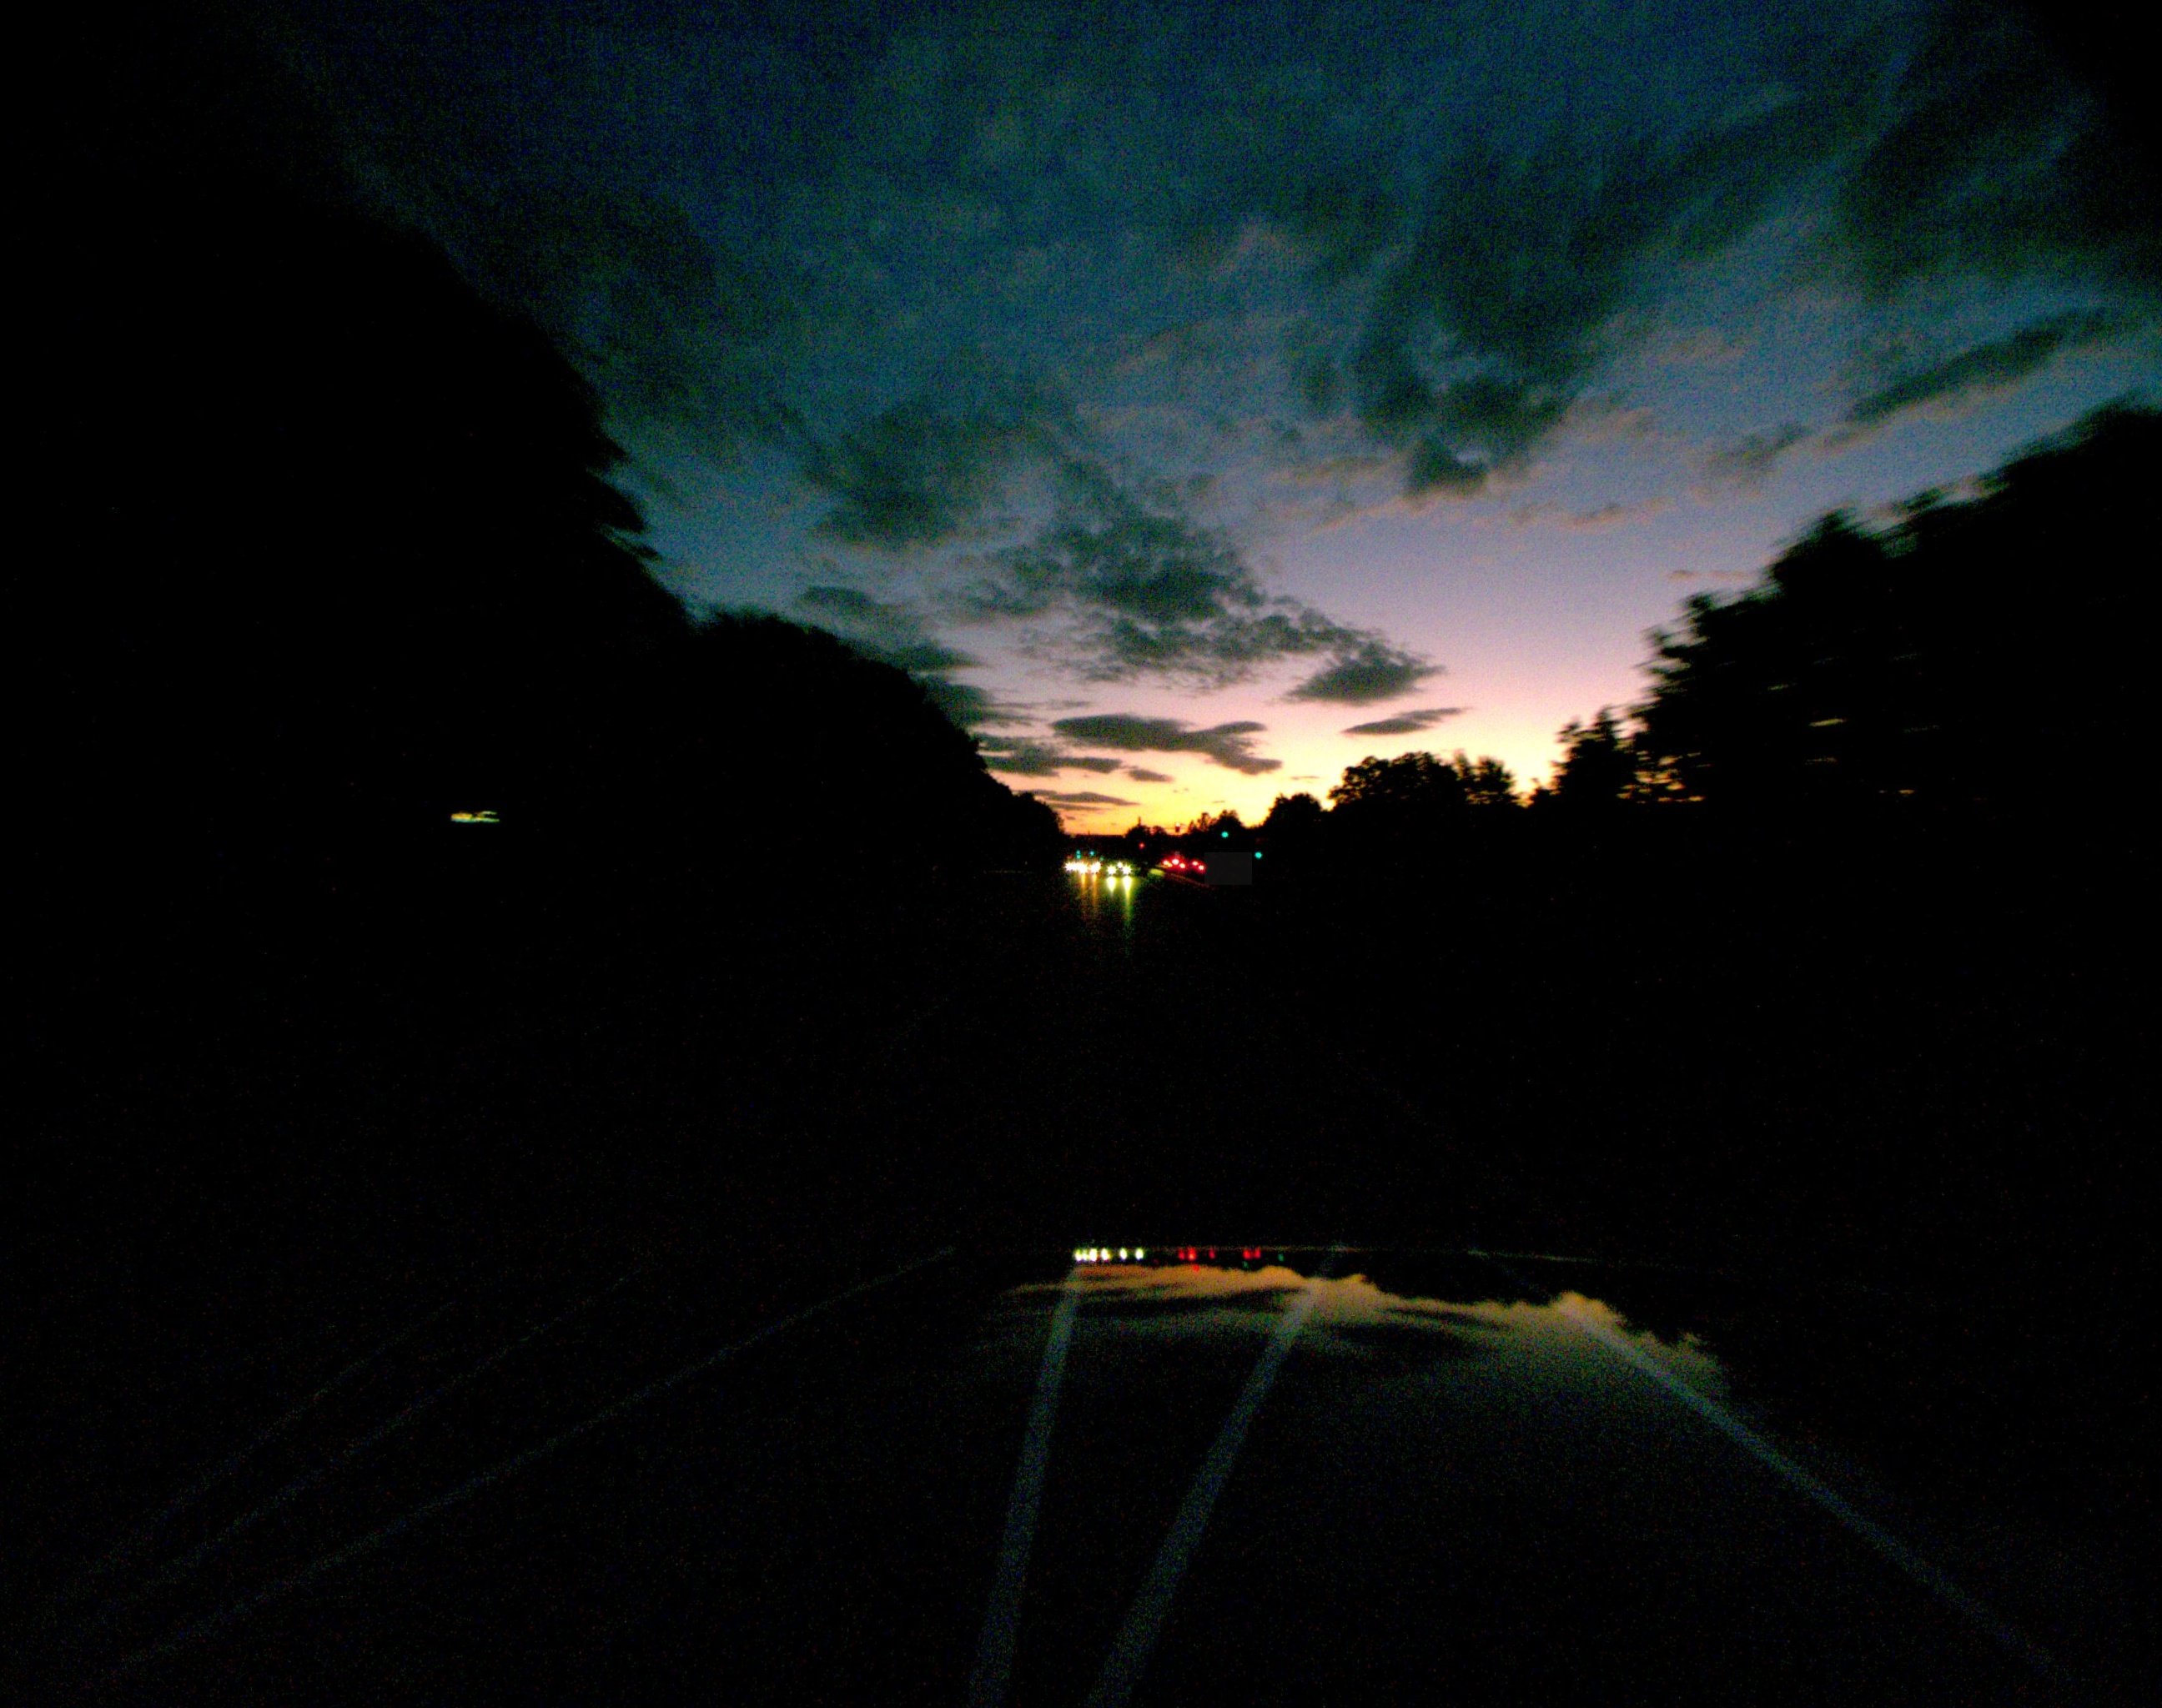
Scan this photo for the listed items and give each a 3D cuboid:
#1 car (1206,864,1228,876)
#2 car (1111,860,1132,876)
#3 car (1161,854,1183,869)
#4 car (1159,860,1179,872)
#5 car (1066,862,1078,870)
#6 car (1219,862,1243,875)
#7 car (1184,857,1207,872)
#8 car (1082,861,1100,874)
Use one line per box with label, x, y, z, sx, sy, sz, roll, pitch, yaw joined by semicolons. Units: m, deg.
car;17.213;2.055;96.272;1.998;1.444;4.735;1;-1;1
car;3.964;1.372;74.995;1.998;1.444;4.735;0;0;3
car;10.069;0.788;84.503;1.998;1.560;4.824;1;0;3
car;10.505;1.410;91.223;1.998;1.444;5.048;1;0;2
car;-1.892;2.508;160.851;2.006;1.717;4.003;0;0;7
car;17.735;1.694;90.026;1.998;1.444;4.735;1;0;2
car;14.048;1.234;93.417;1.998;1.672;4.872;1;1;0
car;1.183;1.630;90.881;1.999;1.444;4.000;2;0;0
